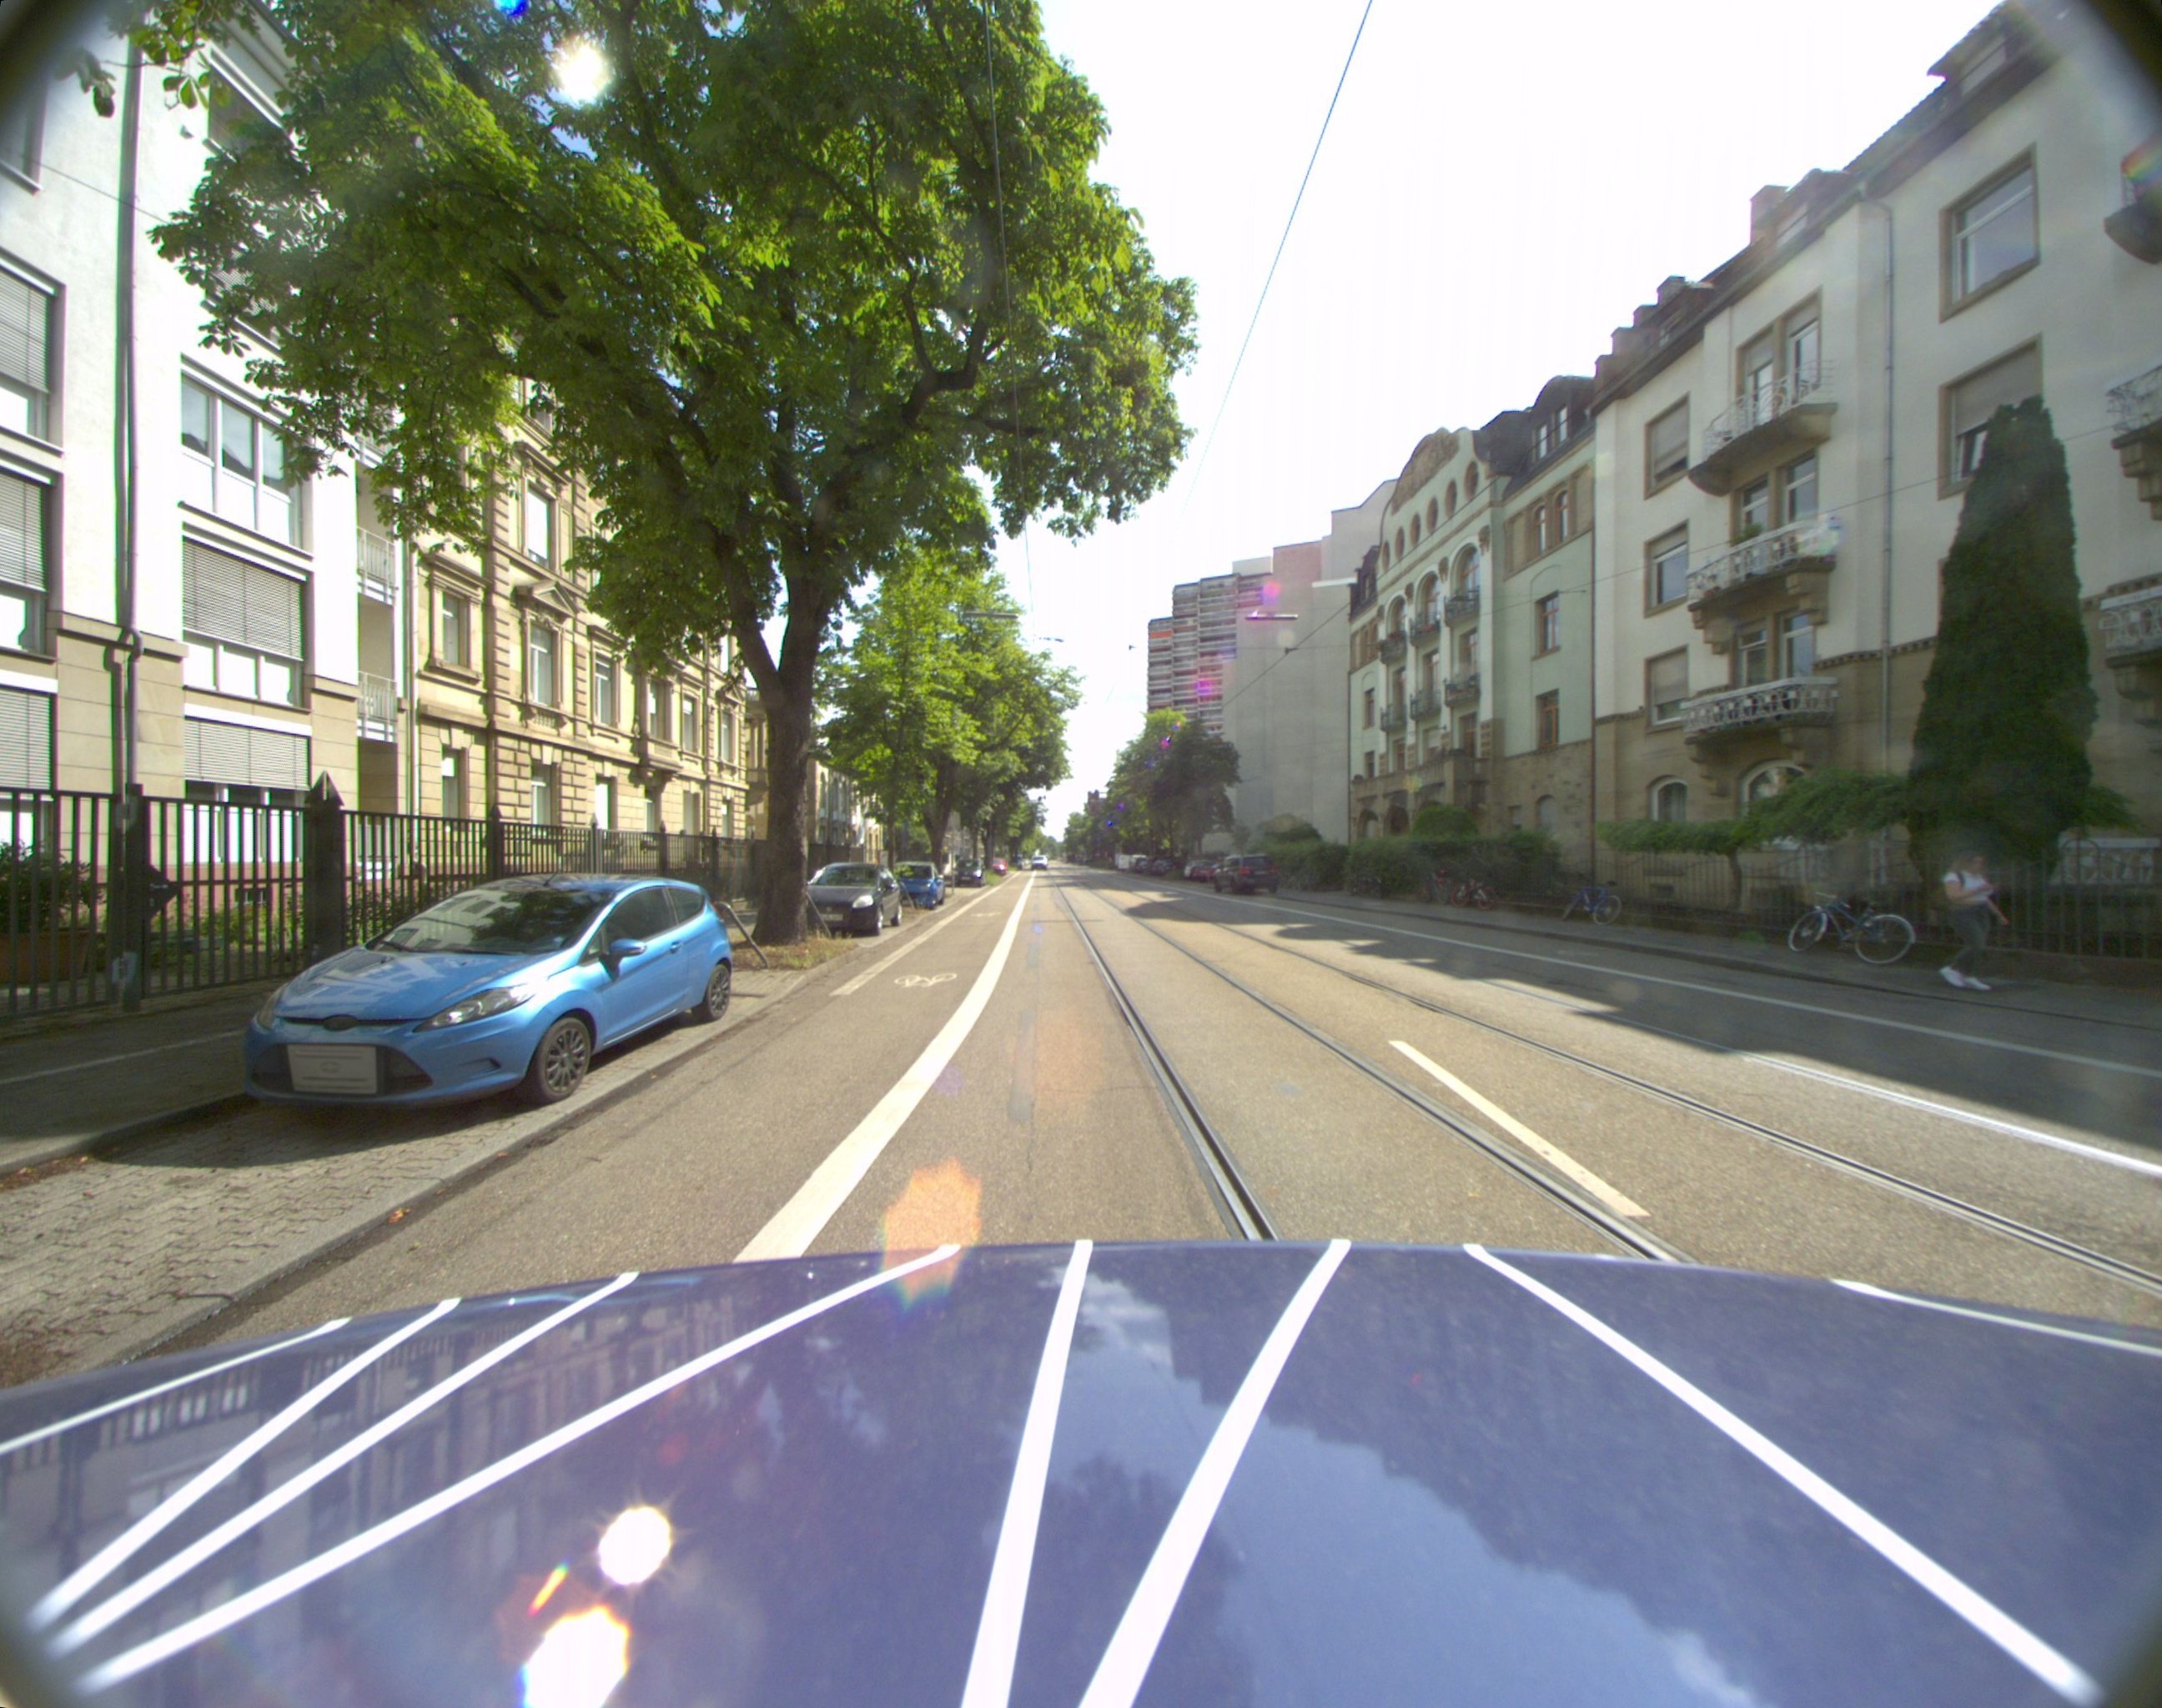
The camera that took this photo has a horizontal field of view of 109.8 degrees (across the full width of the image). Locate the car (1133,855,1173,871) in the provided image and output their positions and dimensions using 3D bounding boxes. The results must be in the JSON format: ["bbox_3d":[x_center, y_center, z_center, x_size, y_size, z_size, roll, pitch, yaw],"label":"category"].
[{"bbox_3d":[7.503,0.930,78.781,3.994,1.672,2.001,0,0,8],"label":"car"}]

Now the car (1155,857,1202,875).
[{"bbox_3d":[8.479,0.998,65.817,3.994,1.499,2.001,0,0,8],"label":"car"}]

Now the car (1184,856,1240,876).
[{"bbox_3d":[9.707,0.881,56.611,3.994,1.499,2.001,0,0,8],"label":"car"}]

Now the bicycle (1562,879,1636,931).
[{"bbox_3d":[10.961,1.052,16.147,0.467,0.990,1.787,0,0,5],"label":"bicycle"}]

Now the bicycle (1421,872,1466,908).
[{"bbox_3d":[10.717,1.036,22.530,0.468,0.990,1.787,0,0,-1],"label":"bicycle"}]

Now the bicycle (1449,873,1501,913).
[{"bbox_3d":[10.676,1.042,20.632,0.468,0.990,1.787,0,0,-1],"label":"bicycle"}]

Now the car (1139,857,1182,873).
[{"bbox_3d":[7.583,1.012,72.146,3.994,1.499,2.001,0,0,8],"label":"car"}]

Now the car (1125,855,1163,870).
[{"bbox_3d":[6.926,0.913,83.207,3.994,1.672,2.001,0,0,8],"label":"car"}]

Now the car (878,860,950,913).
[{"bbox_3d":[-5.304,0.995,24.518,1.679,1.467,3.659,3,0,-4],"label":"car"}]

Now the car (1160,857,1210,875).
[{"bbox_3d":[8.572,0.984,62.661,3.994,1.499,2.001,0,0,8],"label":"car"}]

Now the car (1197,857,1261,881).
[{"bbox_3d":[9.597,0.952,49.555,3.994,1.499,2.001,0,0,8],"label":"car"}]

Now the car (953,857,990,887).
[{"bbox_3d":[-6.183,0.974,43.096,1.744,1.564,3.659,3,0,-4],"label":"car"}]

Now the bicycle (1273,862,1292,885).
[{"bbox_3d":[10.013,0.963,37.768,0.468,1.128,1.787,0,0,-1],"label":"bicycle"}]

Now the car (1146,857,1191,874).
[{"bbox_3d":[7.984,1.037,68.936,3.994,1.499,2.001,0,0,8],"label":"car"}]

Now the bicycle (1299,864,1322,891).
[{"bbox_3d":[10.190,1.026,33.729,0.468,1.128,1.787,0,0,-1],"label":"bicycle"}]

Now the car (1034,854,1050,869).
[{"bbox_3d":[-4.919,0.973,97.389,1.974,1.901,4.817,0,0,-2],"label":"car"}]

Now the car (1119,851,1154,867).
[{"bbox_3d":[6.514,0.576,89.043,1.994,1.740,4.008,-1,1,41],"label":"car"}]

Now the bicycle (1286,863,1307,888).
[{"bbox_3d":[10.110,1.007,35.671,0.468,1.128,1.787,0,0,-1],"label":"bicycle"}]

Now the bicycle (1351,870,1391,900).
[{"bbox_3d":[10.133,1.071,26.618,0.605,0.990,1.981,0,0,-1],"label":"bicycle"}]

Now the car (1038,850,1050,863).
[{"bbox_3d":[-7.258,0.468,150.030,2.146,2.568,4.817,0,0,-2],"label":"car"}]

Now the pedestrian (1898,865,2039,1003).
[{"bbox_3d":[10.372,0.906,8.908,0.759,1.532,0.765,0,0,-2],"label":"pedestrian"}]

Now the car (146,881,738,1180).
[{"bbox_3d":[-4.323,1.045,6.004,1.647,1.467,3.660,3,0,-3],"label":"car"}]

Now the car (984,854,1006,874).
[{"bbox_3d":[-7.445,0.844,66.052,1.744,1.564,3.928,3,0,-4],"label":"car"}]

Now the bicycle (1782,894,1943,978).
[{"bbox_3d":[11.102,1.124,10.902,0.467,0.990,1.979,0,0,7],"label":"bicycle"}]

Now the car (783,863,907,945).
[{"bbox_3d":[-4.906,0.974,16.303,1.679,1.467,3.659,3,0,-4],"label":"car"}]

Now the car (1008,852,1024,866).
[{"bbox_3d":[-7.731,0.573,90.729,1.744,1.564,3.928,3,0,-4],"label":"car"}]

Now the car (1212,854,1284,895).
[{"bbox_3d":[7.287,0.859,33.593,1.922,1.685,4.400,0,0,-5],"label":"car"}]

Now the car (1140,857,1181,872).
[{"bbox_3d":[7.915,1.010,75.307,3.994,1.499,2.001,0,0,8],"label":"car"}]

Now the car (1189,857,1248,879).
[{"bbox_3d":[9.567,0.963,53.063,3.994,1.499,2.001,0,0,8],"label":"car"}]
